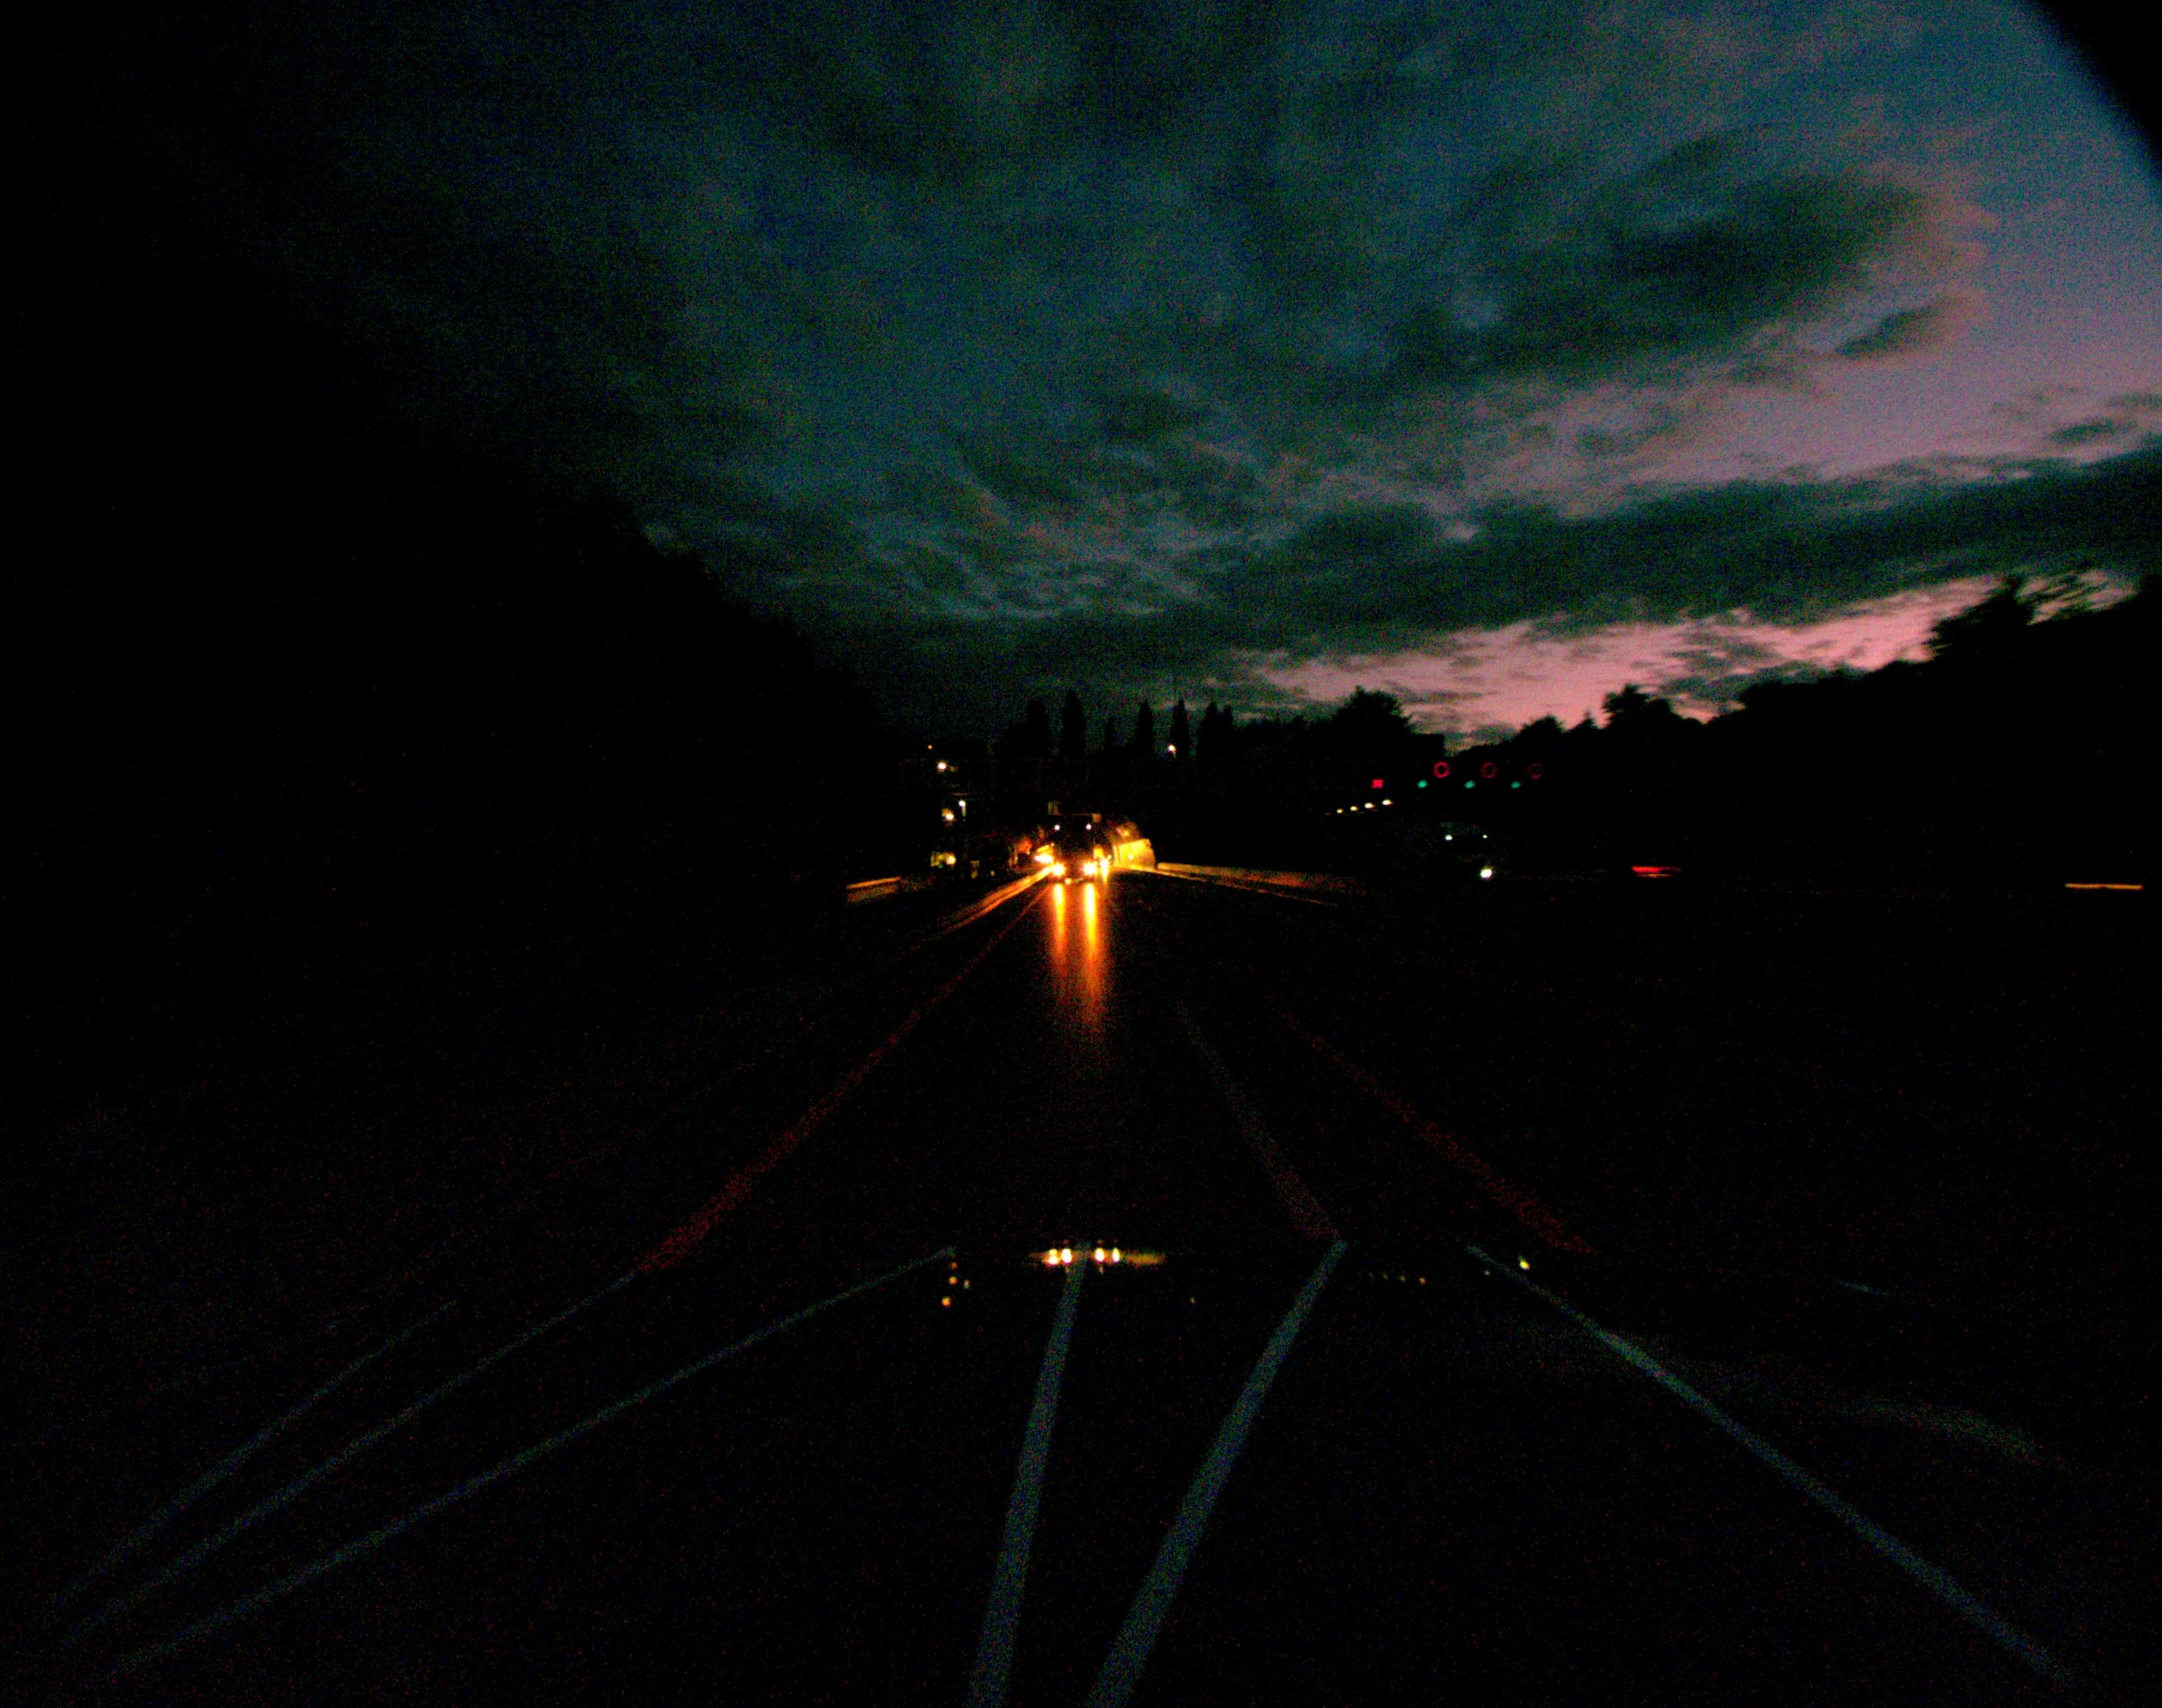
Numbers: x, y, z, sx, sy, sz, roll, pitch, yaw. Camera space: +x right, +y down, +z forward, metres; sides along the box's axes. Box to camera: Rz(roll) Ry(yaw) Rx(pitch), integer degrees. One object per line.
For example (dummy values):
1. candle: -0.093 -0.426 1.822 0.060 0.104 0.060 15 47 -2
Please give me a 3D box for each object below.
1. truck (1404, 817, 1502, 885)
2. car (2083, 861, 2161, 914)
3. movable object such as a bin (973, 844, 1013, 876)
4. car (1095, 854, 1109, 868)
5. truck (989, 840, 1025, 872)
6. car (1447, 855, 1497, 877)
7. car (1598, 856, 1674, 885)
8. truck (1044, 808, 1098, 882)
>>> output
1. truck: 22.466 -0.186 46.296 2.809 3.753 6.302 -2 1 1
2. car: 31.286 0.962 21.041 1.580 1.461 4.226 -1 1 3
3. movable object such as a bin: -8.424 0.513 73.475 2.978 2.811 7.194 -3 1 -1
4. car: 2.577 0.815 94.873 1.663 1.586 3.996 -2 1 1
5. truck: -8.101 0.180 83.827 2.825 3.267 8.352 -2 1 1
6. car: 29.879 0.894 58.166 1.802 1.561 3.791 -2 1 0
7. car: 32.125 0.924 44.119 1.580 1.461 4.096 -2 1 3
8. truck: -0.466 -0.567 49.929 2.953 4.241 11.052 -2 1 1
